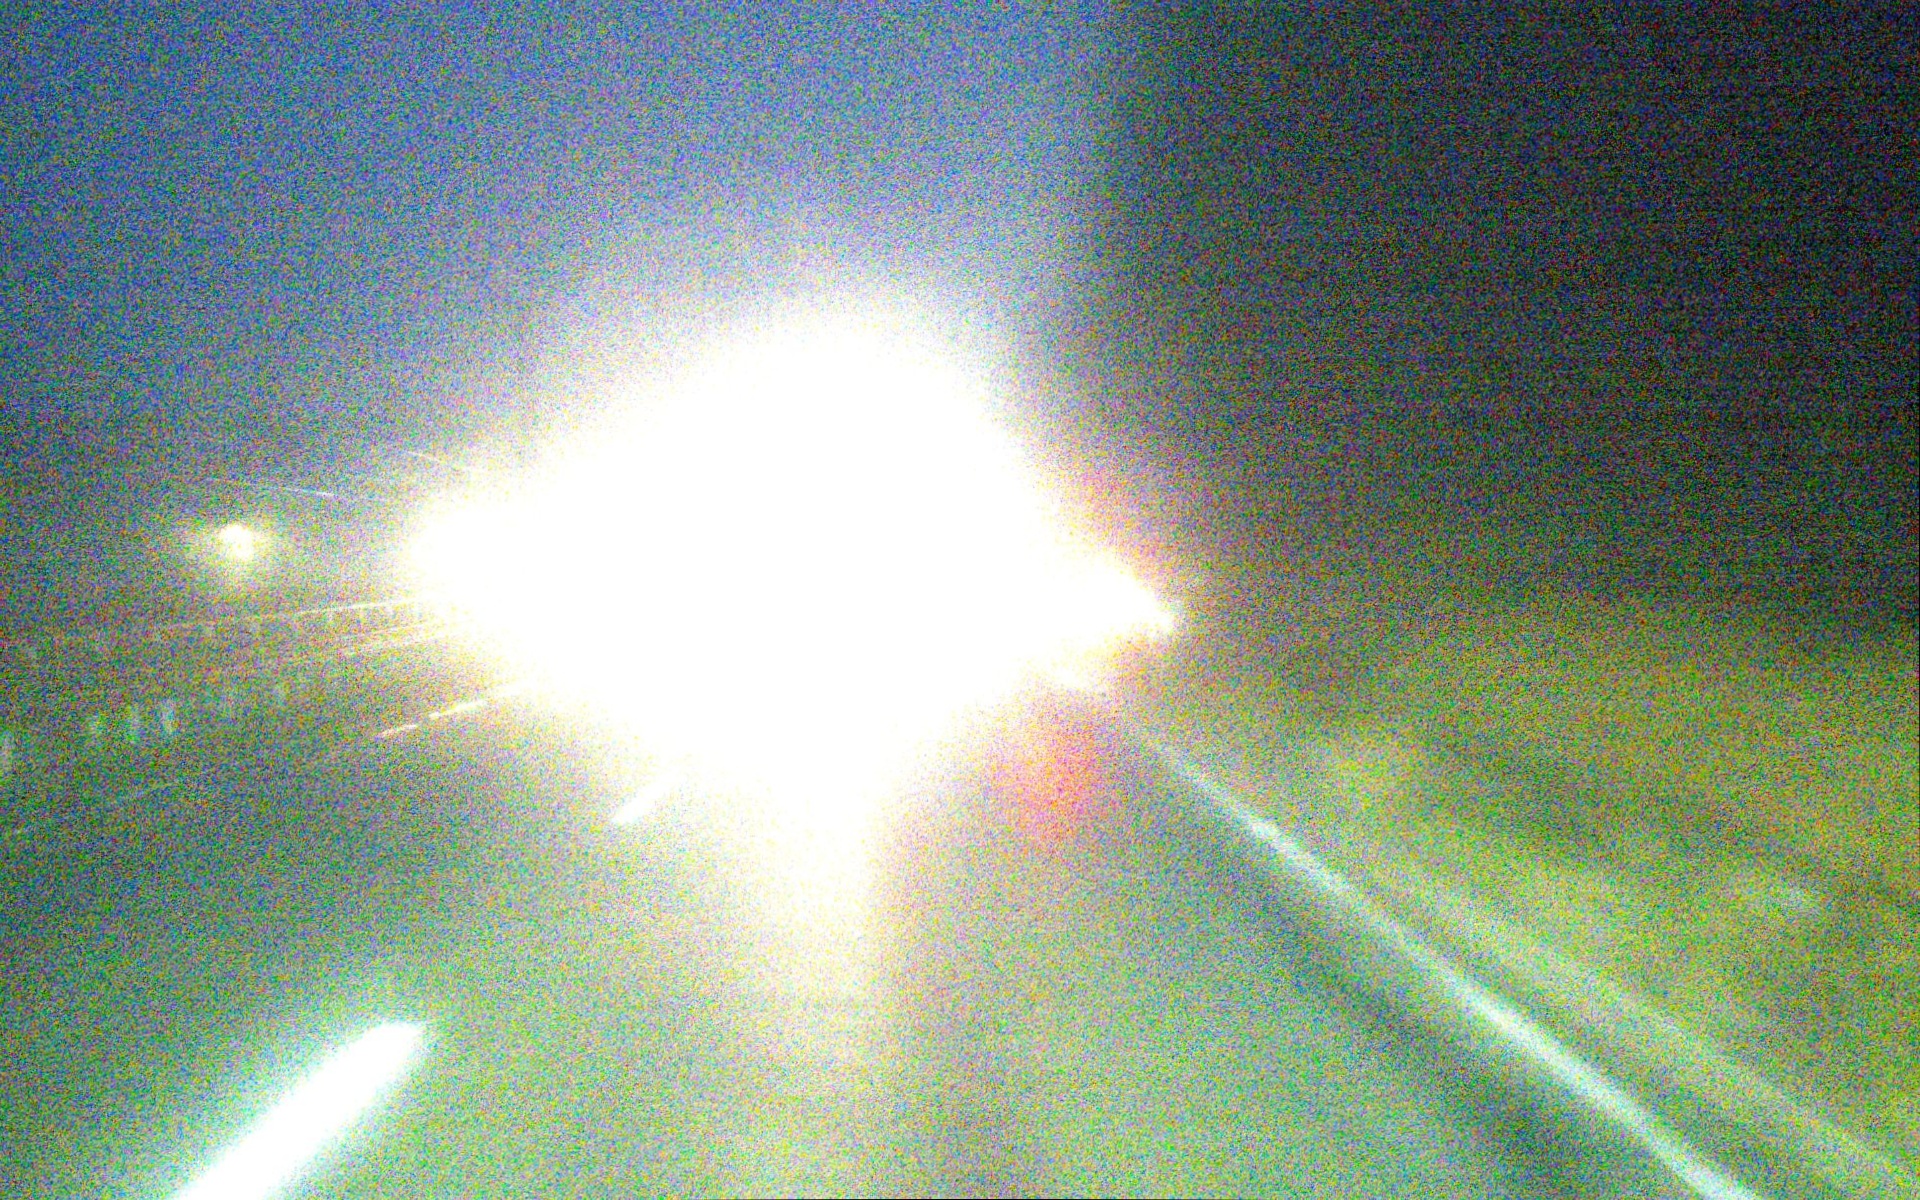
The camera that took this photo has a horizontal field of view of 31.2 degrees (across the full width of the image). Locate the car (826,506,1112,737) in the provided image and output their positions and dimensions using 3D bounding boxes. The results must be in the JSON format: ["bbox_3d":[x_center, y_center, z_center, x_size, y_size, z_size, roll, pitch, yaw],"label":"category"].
[{"bbox_3d":[0.091,0.226,33.012,2.458,1.952,4.911,-2,-1,0],"label":"car"}]

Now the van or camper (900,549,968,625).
[{"bbox_3d":[-0.969,-0.511,124.549,2.123,2.557,5.785,-3,1,-3],"label":"van or camper"}]
